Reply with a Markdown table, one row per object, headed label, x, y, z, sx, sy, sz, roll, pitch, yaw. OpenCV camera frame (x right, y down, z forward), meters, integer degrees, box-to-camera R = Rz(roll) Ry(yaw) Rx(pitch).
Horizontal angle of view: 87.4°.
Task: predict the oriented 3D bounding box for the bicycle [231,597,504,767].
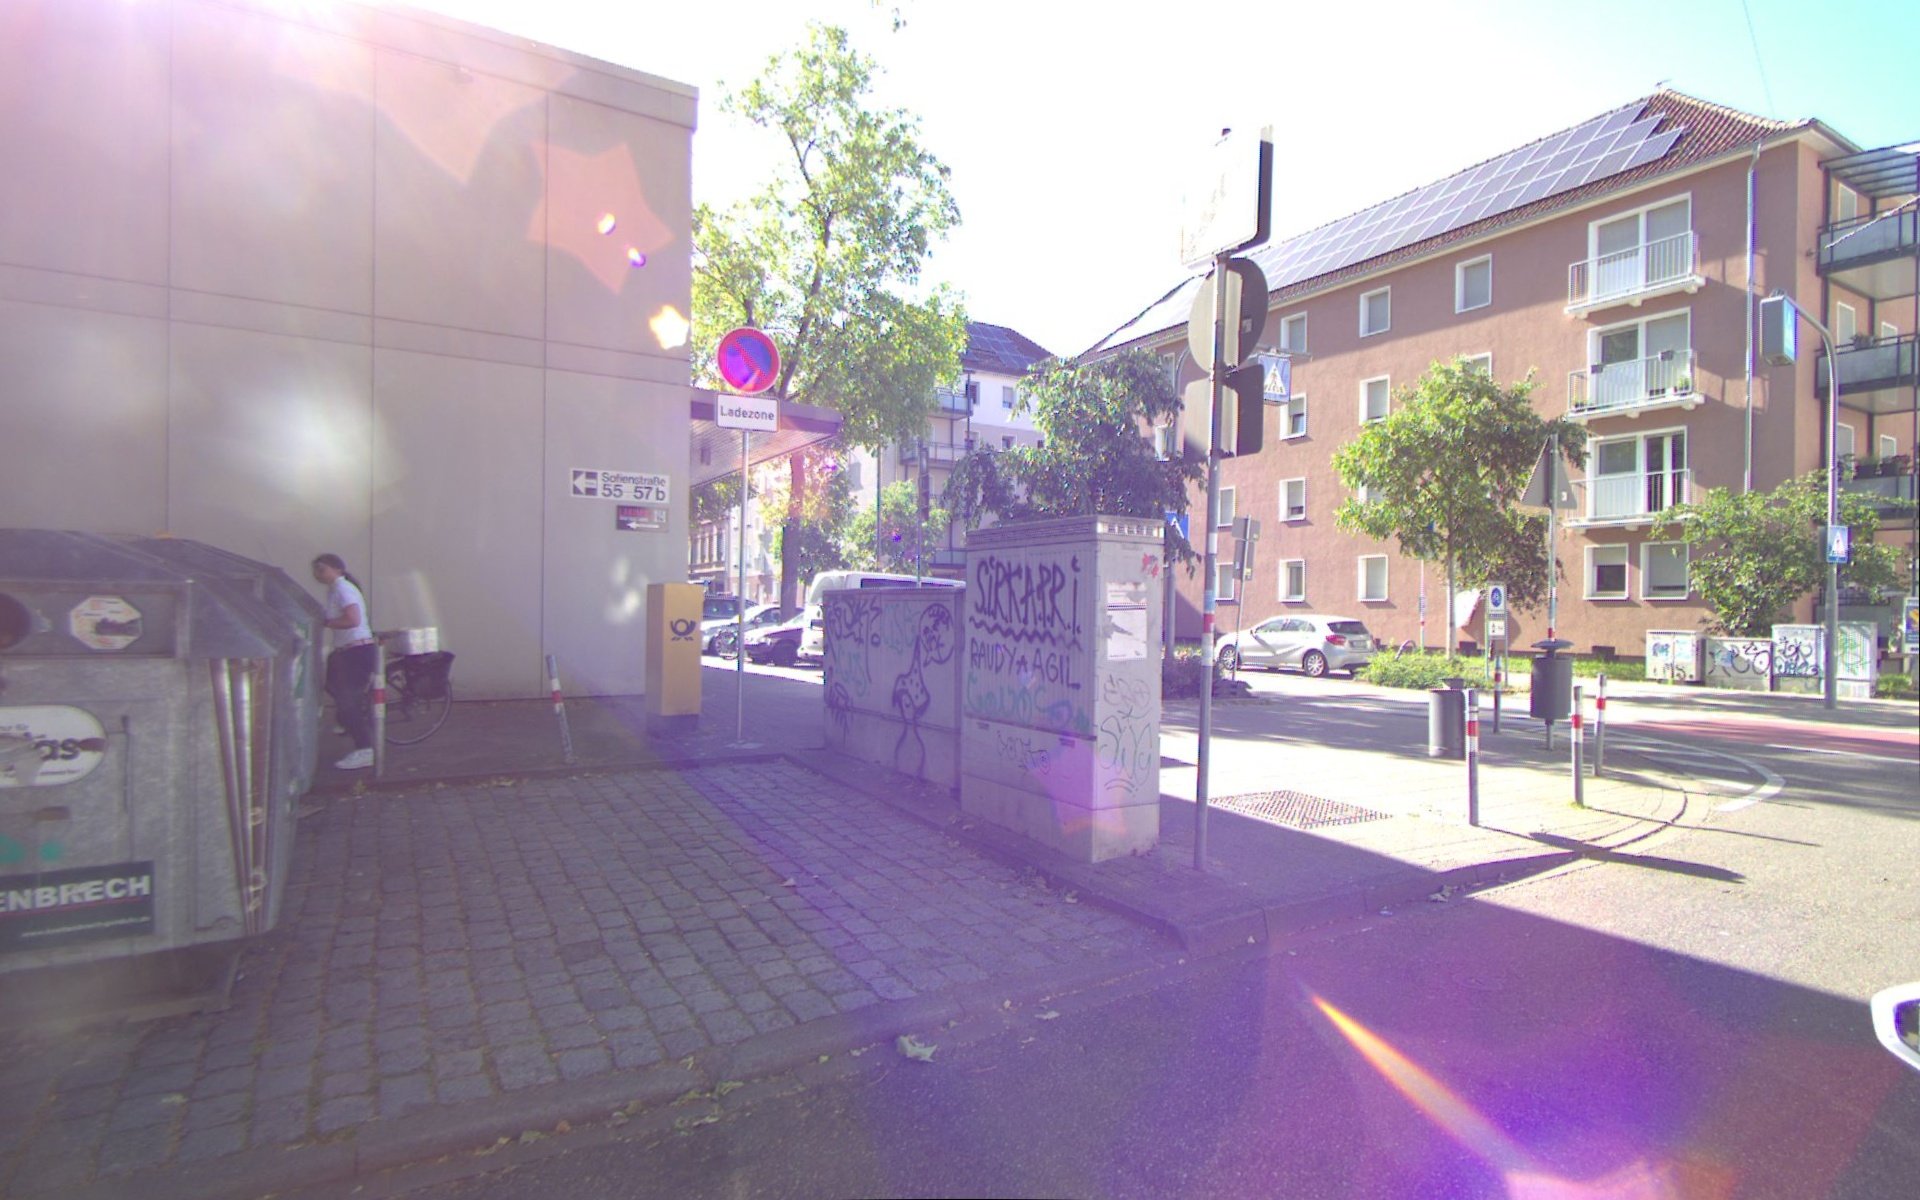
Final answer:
| label | x | y | z | sx | sy | sz | roll | pitch | yaw |
| --- | --- | --- | --- | --- | --- | --- | --- | --- | --- |
| bicycle | -4.637 | 0.583 | 7.929 | 1.706 | 1.168 | 0.794 | 1 | 2 | -45 |

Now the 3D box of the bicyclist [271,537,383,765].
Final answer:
| label | x | y | z | sx | sy | sz | roll | pitch | yaw |
| --- | --- | --- | --- | --- | --- | --- | --- | --- | --- |
| bicyclist | -4.766 | 0.355 | 7.550 | 0.696 | 1.605 | 0.531 | 5 | 2 | 45 |

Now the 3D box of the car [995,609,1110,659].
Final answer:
| label | x | y | z | sx | sy | sz | roll | pitch | yaw |
| --- | --- | --- | --- | --- | --- | --- | --- | --- | --- |
| car | 3.042 | 1.098 | 33.905 | 1.768 | 1.539 | 4.274 | 1 | -1 | -30 |

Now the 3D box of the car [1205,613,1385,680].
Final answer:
| label | x | y | z | sx | sy | sz | roll | pitch | yaw |
| --- | --- | --- | --- | --- | --- | --- | --- | --- | --- |
| car | 8.153 | 1.074 | 24.795 | 1.726 | 1.473 | 4.121 | 1 | -1 | -31 |

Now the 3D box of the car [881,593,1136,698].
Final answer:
| label | x | y | z | sx | sy | sz | roll | pitch | yaw |
| --- | --- | --- | --- | --- | --- | --- | --- | --- | --- |
| car | 0.899 | 0.755 | 17.599 | 4.256 | 1.634 | 1.743 | 1 | -1 | -32 |

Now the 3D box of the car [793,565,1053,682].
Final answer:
| label | x | y | z | sx | sy | sz | roll | pitch | yaw |
| --- | --- | --- | --- | --- | --- | --- | --- | --- | --- |
| car | -0.664 | 0.506 | 19.533 | 4.695 | 2.033 | 1.942 | 3 | -2 | -33 |

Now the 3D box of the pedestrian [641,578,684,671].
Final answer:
| label | x | y | z | sx | sy | sz | roll | pitch | yaw |
| --- | --- | --- | --- | --- | --- | --- | --- | --- | --- |
| pedestrian | -5.497 | 0.449 | 18.556 | 0.559 | 1.688 | 0.707 | 3 | -1 | -29 |

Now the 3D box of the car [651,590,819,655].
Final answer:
| label | x | y | z | sx | sy | sz | roll | pitch | yaw |
| --- | --- | --- | --- | --- | --- | --- | --- | --- | --- |
| car | -6.731 | 0.700 | 30.256 | 4.590 | 1.828 | 1.821 | 2 | -1 | -32 |
